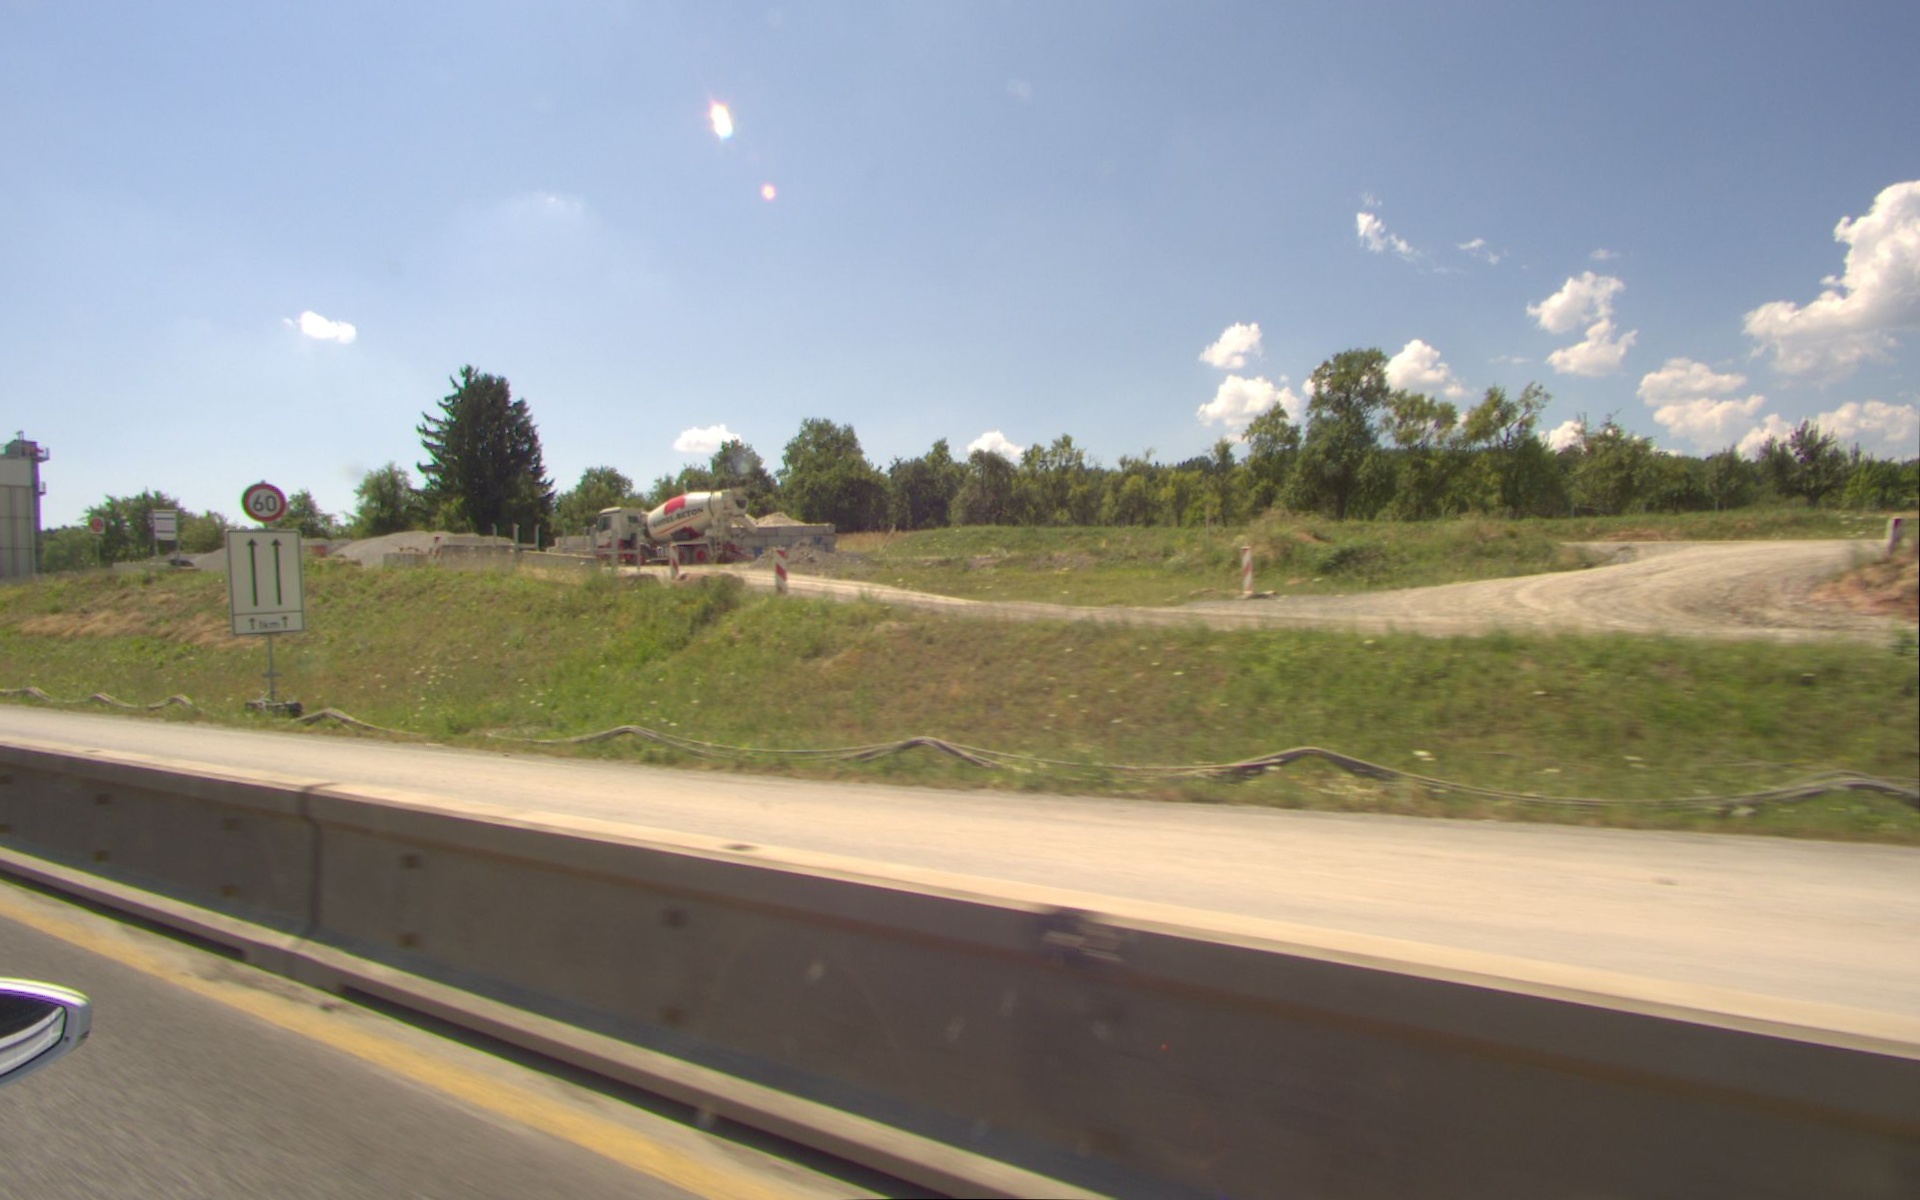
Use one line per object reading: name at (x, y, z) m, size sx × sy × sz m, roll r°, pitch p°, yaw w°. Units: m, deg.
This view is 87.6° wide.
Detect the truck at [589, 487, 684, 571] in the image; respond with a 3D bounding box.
truck at (-17.312, -3.696, 53.648) m, size 4.031 × 4.150 × 2.746 m, roll -1°, pitch 0°, yaw 23°

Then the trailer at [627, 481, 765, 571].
trailer at (-13.742, -3.735, 52.123) m, size 6.632 × 4.168 × 2.757 m, roll -1°, pitch 0°, yaw 23°
